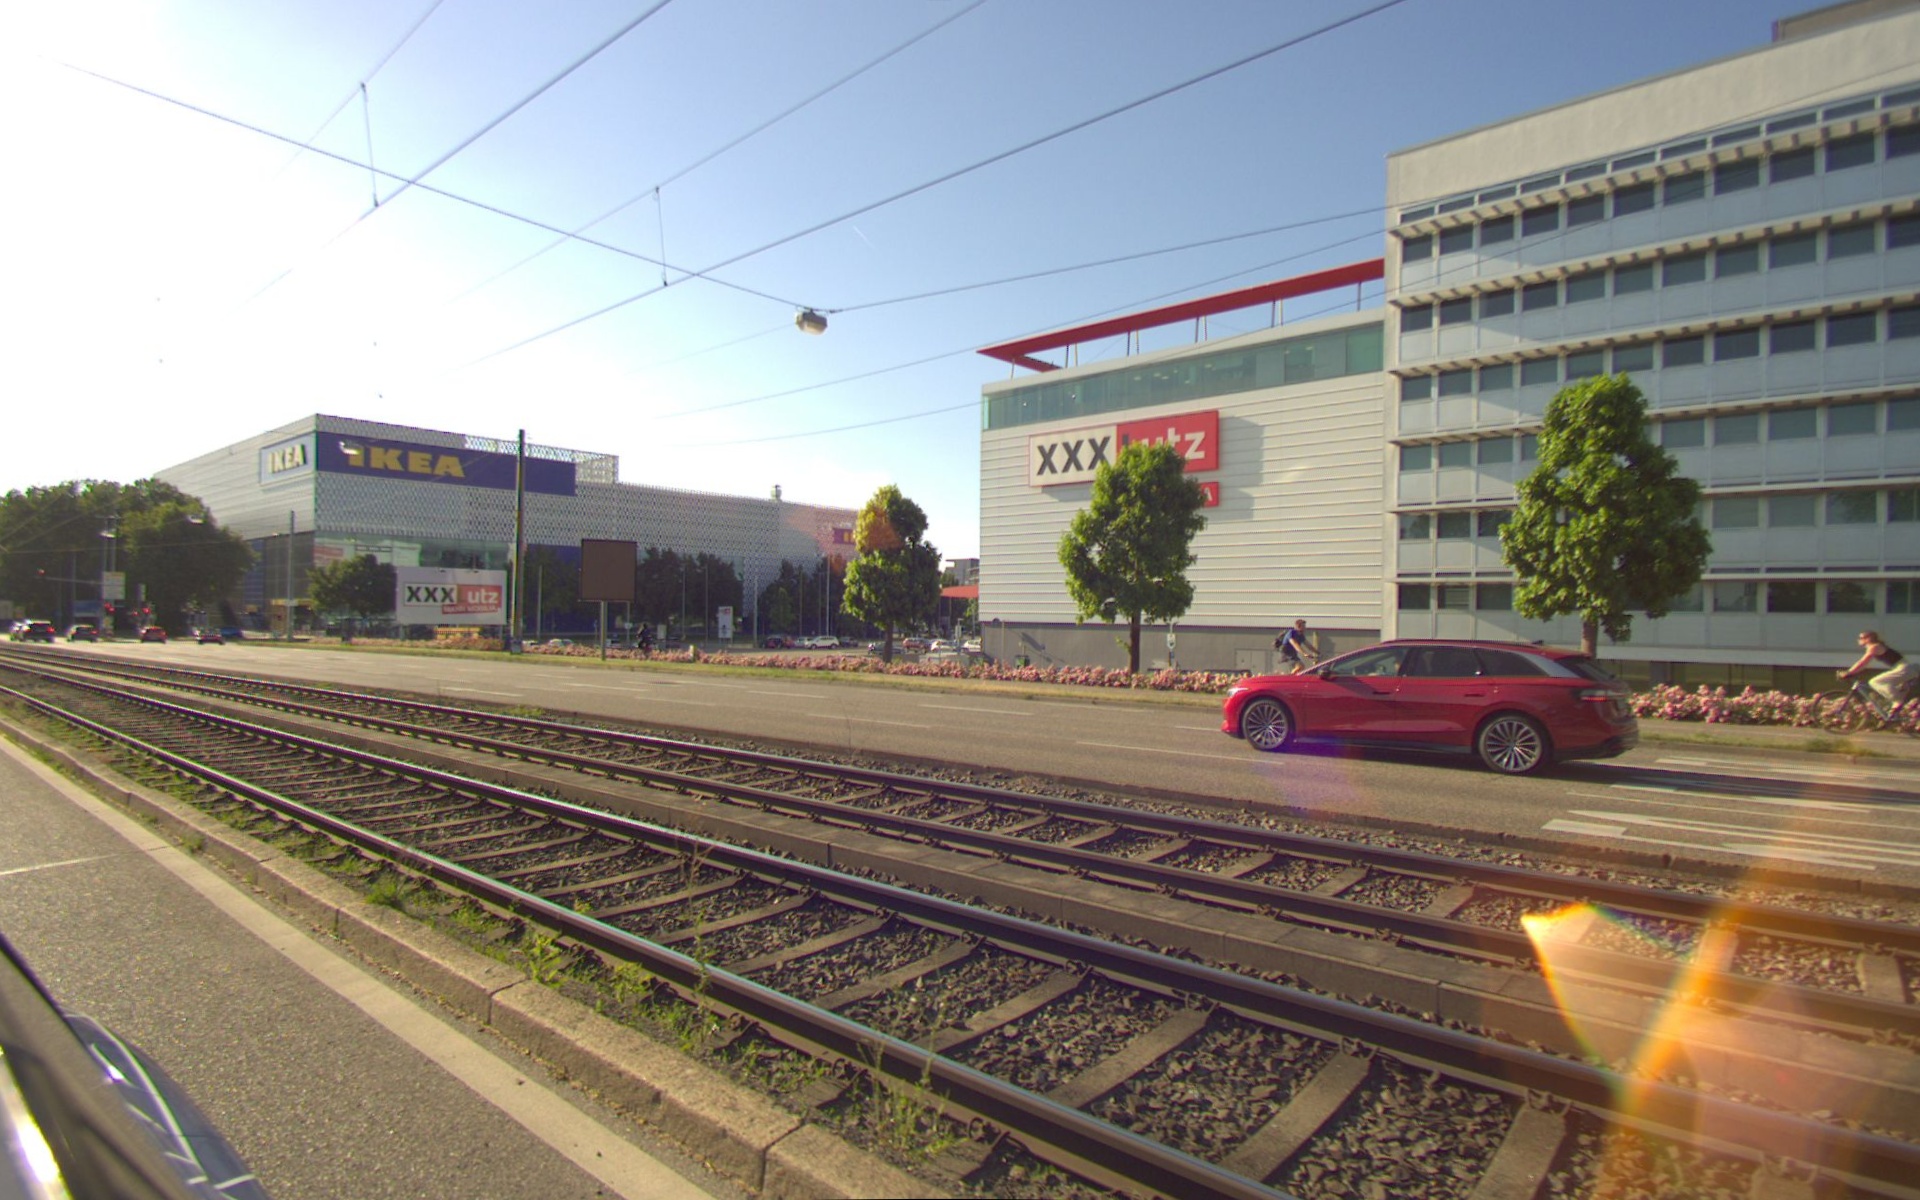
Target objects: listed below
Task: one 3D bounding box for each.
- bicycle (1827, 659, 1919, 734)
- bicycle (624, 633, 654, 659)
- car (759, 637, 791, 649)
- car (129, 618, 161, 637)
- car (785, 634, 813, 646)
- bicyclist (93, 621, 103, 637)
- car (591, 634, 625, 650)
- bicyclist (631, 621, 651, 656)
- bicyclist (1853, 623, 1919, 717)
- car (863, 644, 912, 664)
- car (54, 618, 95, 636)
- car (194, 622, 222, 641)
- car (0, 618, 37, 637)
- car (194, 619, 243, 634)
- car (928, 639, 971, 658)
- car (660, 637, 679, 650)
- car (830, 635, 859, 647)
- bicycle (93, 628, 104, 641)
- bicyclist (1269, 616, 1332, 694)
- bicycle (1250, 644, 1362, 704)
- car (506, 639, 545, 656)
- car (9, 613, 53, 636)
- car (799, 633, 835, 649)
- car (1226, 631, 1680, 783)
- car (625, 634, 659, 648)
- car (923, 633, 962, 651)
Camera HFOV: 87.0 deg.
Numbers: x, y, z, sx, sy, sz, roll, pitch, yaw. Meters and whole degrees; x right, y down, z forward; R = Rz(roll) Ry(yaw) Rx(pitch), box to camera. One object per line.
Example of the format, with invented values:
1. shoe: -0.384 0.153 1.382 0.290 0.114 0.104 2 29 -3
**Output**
1. bicycle: 14.286 1.459 15.350 1.702 1.067 0.618 -1 -1 41
2. bicycle: -15.501 2.200 48.879 0.653 1.159 2.025 -2 0 -40
3. car: -24.727 5.729 135.210 4.431 1.563 1.652 -1 0 37
4. car: -69.624 2.345 86.445 1.911 1.488 4.138 4 -4 -41
5. car: -22.300 5.487 139.946 3.998 1.668 1.704 -1 -2 42
6. bicyclist: -82.102 2.782 96.397 0.751 1.534 0.581 -1 -2 42
7. car: -41.187 4.934 118.350 3.993 1.758 1.911 -1 0 37
8. bicyclist: -15.347 1.839 48.682 0.653 1.635 0.802 -2 0 -40
9. bicyclist: 14.219 1.048 15.410 0.879 1.384 0.618 -1 -1 41
10. car: -6.854 5.075 95.436 4.445 1.715 1.902 -1 0 40
11. car: -73.606 2.241 84.113 4.133 1.472 1.838 -1 -2 39
12. car: -66.218 2.772 89.116 1.796 1.655 4.010 3 -3 -35
13. car: -76.419 2.212 82.158 4.106 1.459 1.764 -1 -3 42
14. car: -84.415 3.049 115.227 4.194 1.509 2.017 5 -4 -44
15. car: -1.052 4.867 101.922 3.997 1.715 1.902 -1 0 40
16. car: -40.210 5.941 139.932 1.876 1.580 4.262 -2 0 -25
17. car: -16.523 5.807 145.098 3.998 1.668 1.972 -1 -2 42
18. bicycle: -81.964 3.262 96.289 1.991 1.176 0.581 -1 -2 42
19. bicyclist: 6.894 1.093 20.492 0.696 1.524 0.971 -2 0 -43
20. bicycle: 6.953 1.473 20.435 0.696 1.081 2.029 -2 0 -42
21. car: -47.803 5.199 111.207 4.408 1.723 1.976 -1 0 36
22. car: -71.063 1.878 77.404 4.657 1.668 1.972 -1 -3 42
23. car: -18.400 5.312 130.018 4.156 1.813 1.833 -2 0 -25
24. car: 6.107 1.187 12.929 4.885 1.514 2.018 0 -1 41
25. car: -38.377 4.957 122.061 3.993 1.605 1.911 -1 0 37
26. car: -2.003 4.741 114.606 3.997 1.827 1.974 -1 0 40
